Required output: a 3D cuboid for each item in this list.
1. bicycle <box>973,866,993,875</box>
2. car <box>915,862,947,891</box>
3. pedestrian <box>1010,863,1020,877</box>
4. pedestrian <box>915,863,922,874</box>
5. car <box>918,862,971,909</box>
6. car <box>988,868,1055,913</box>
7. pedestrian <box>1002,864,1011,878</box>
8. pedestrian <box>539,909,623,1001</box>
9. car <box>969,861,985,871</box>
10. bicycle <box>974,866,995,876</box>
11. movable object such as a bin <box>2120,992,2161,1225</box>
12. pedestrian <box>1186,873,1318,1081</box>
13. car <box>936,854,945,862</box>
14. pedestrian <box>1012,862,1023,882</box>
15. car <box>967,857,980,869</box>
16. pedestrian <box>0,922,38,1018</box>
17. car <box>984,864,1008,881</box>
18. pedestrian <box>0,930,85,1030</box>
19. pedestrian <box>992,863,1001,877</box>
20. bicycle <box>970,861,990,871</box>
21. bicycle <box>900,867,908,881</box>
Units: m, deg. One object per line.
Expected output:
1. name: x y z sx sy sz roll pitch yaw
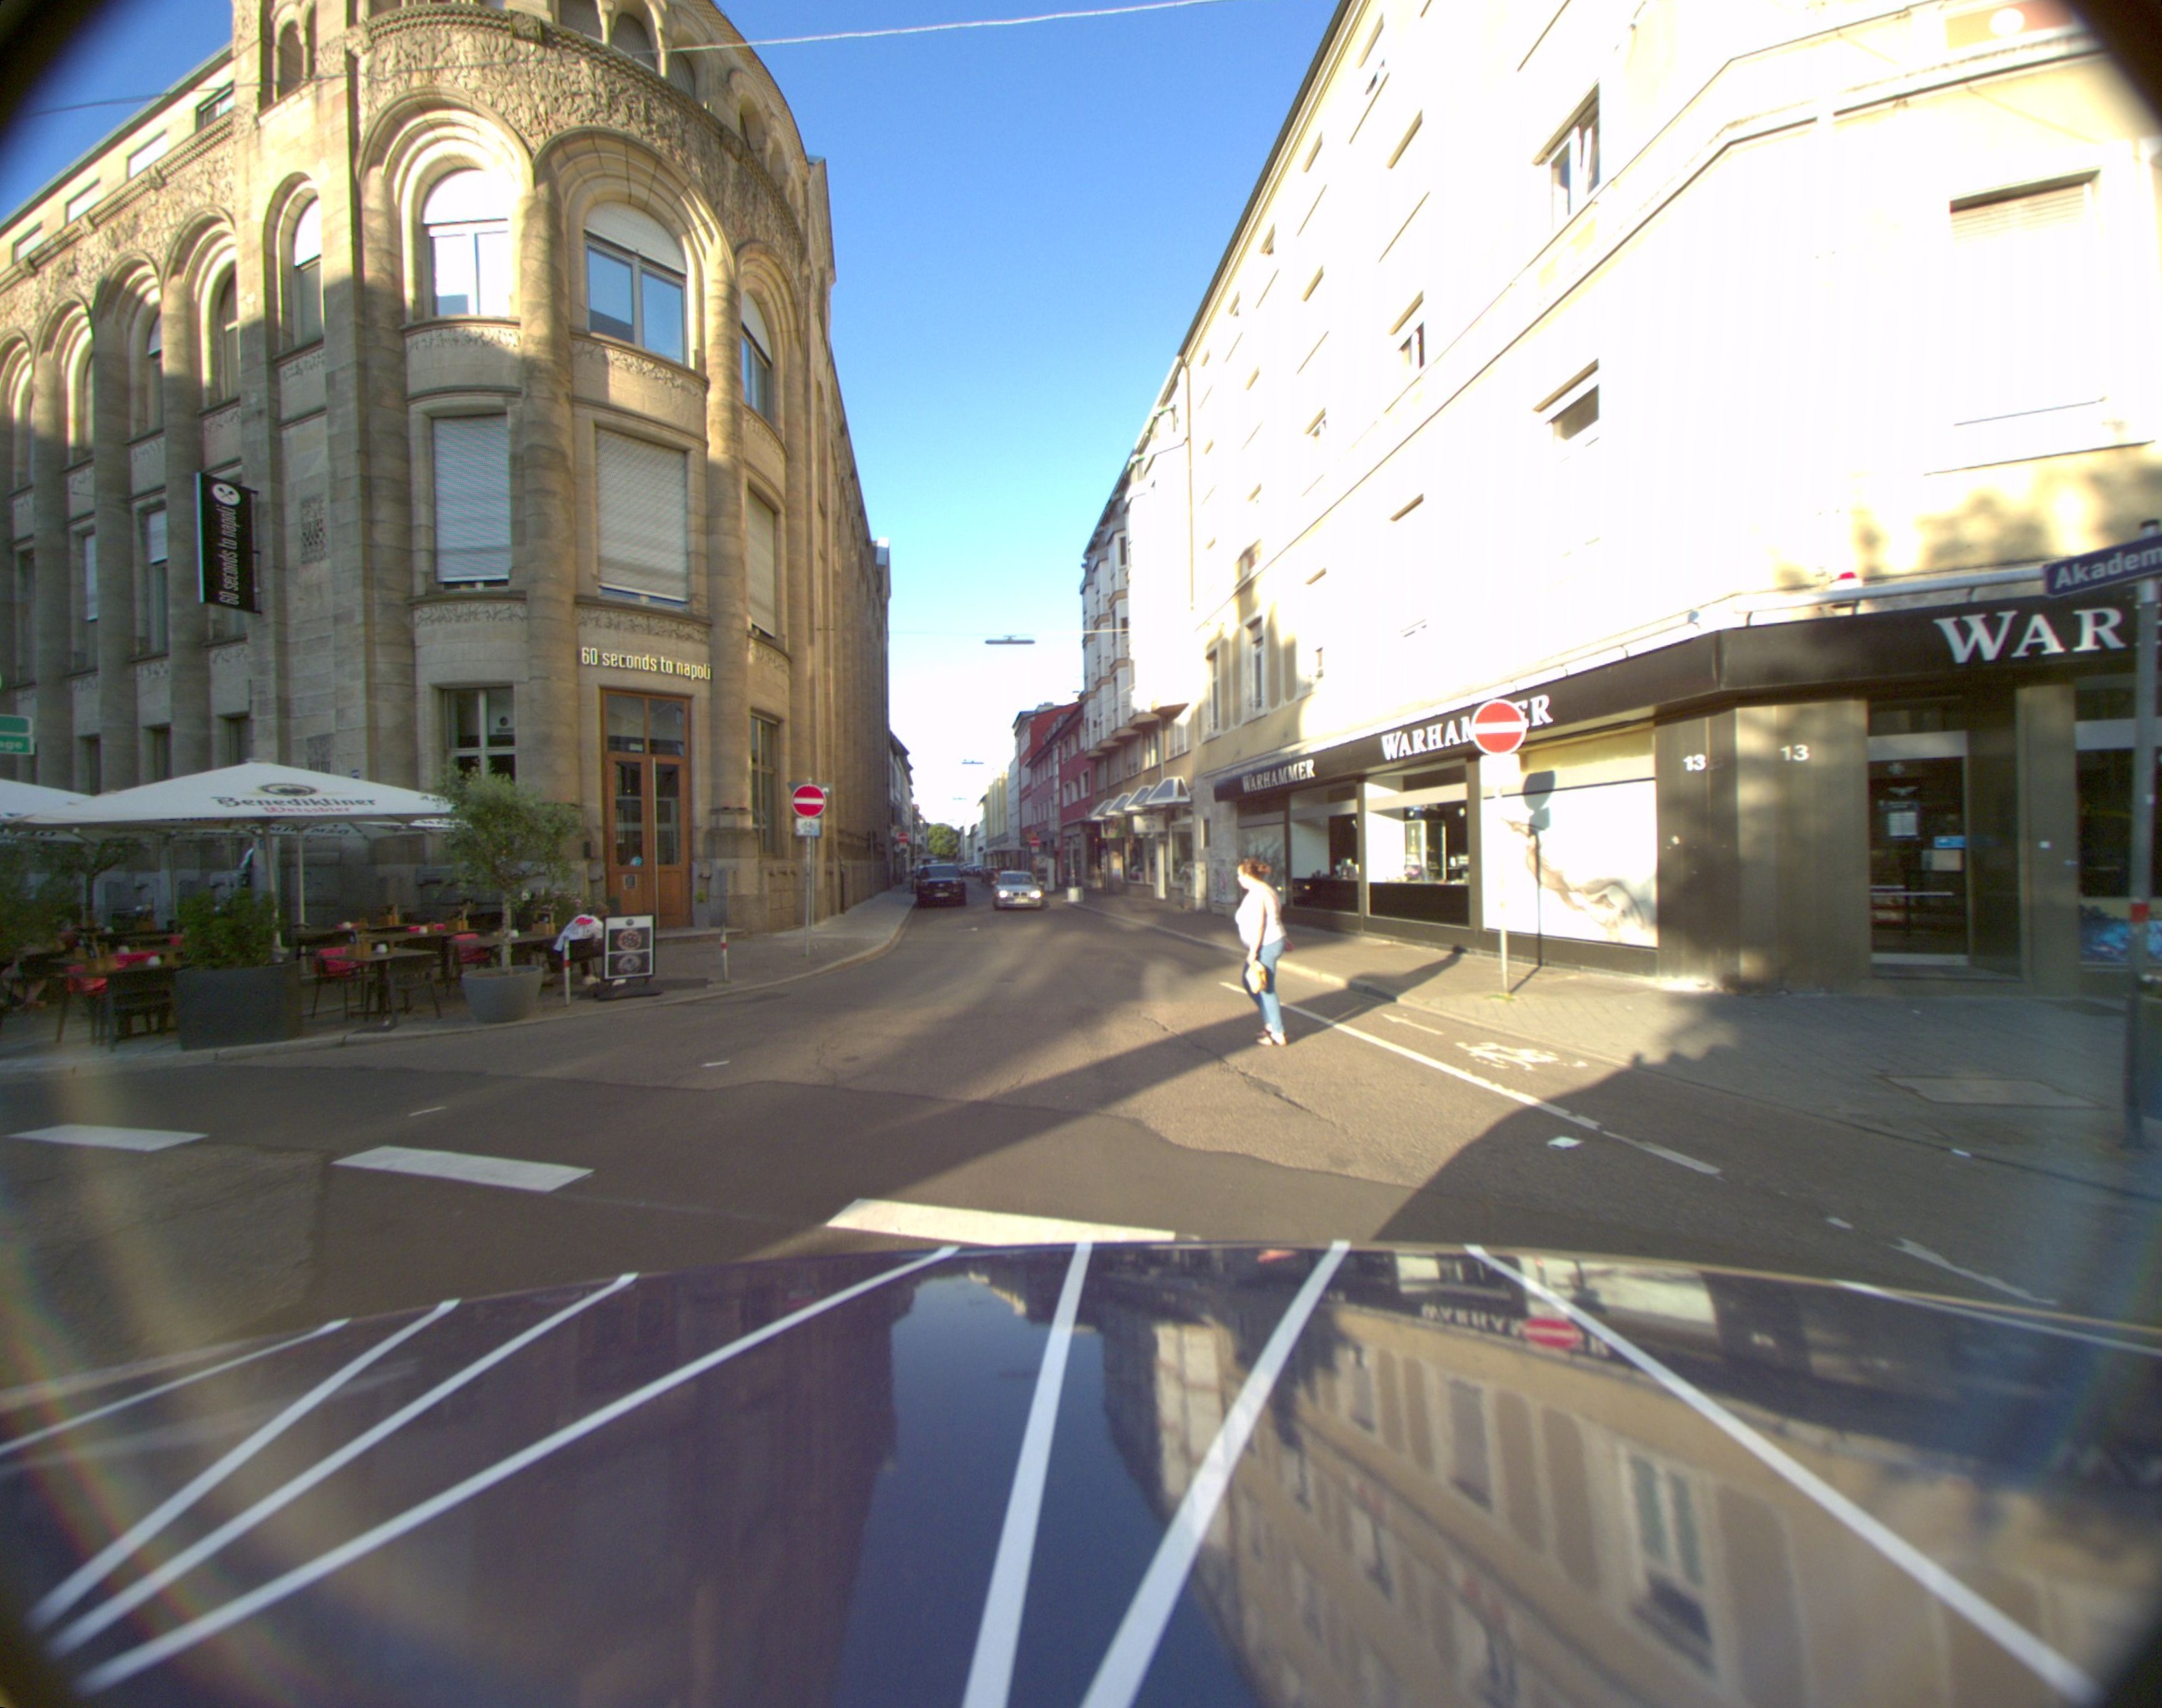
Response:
1. bicycle: -12.589 2.111 97.424 2.483 1.172 0.783 -2 1 -5
2. car: -9.423 1.362 47.509 1.780 1.656 3.995 -1 0 -13
3. pedestrian: -5.162 1.263 59.237 0.603 1.056 0.546 -2 1 -18
4. pedestrian: -18.717 1.677 87.352 0.737 1.236 0.645 -2 1 -9
5. car: -5.893 1.260 32.481 2.000 1.773 4.929 -1 0 -12
6. car: -2.327 1.300 28.399 2.000 1.414 4.454 -2 0 -11
7. pedestrian: -5.730 1.310 58.423 0.612 1.056 0.546 -2 1 -18
8. pedestrian: -7.021 1.399 10.706 0.607 1.181 0.821 -1 0 0
9. car: -14.944 1.710 109.229 2.000 1.462 4.454 -2 0 -11
10. bicycle: -11.906 2.113 93.491 2.483 1.172 0.783 -2 1 -5
11. movable object such as a bin: 5.312 1.229 3.613 0.360 1.057 0.355 -2 1 -21
12. pedestrian: 1.461 0.977 6.483 0.806 1.603 0.732 -2 1 -39
13. car: -34.051 0.929 184.021 2.000 1.884 4.454 -2 0 -11
14. pedestrian: -4.683 1.323 55.818 0.612 1.464 0.546 -2 1 -18
15. car: -18.534 1.594 131.055 2.000 2.029 4.454 -2 0 -11
16. pedestrian: -14.668 1.561 10.216 0.684 1.238 0.602 -1 0 24
17. car: -7.825 1.634 69.508 1.724 1.452 4.130 -2 0 -12
18. pedestrian: -13.520 1.609 9.850 0.572 1.181 0.602 -1 0 24
19. pedestrian: -6.924 1.310 62.359 0.634 1.061 0.559 -2 1 -18
20. bicycle: -13.304 1.585 100.198 2.483 1.322 0.783 -2 1 -5
21. bicycle: -14.537 1.618 62.443 0.520 1.083 1.750 3 -1 -11
